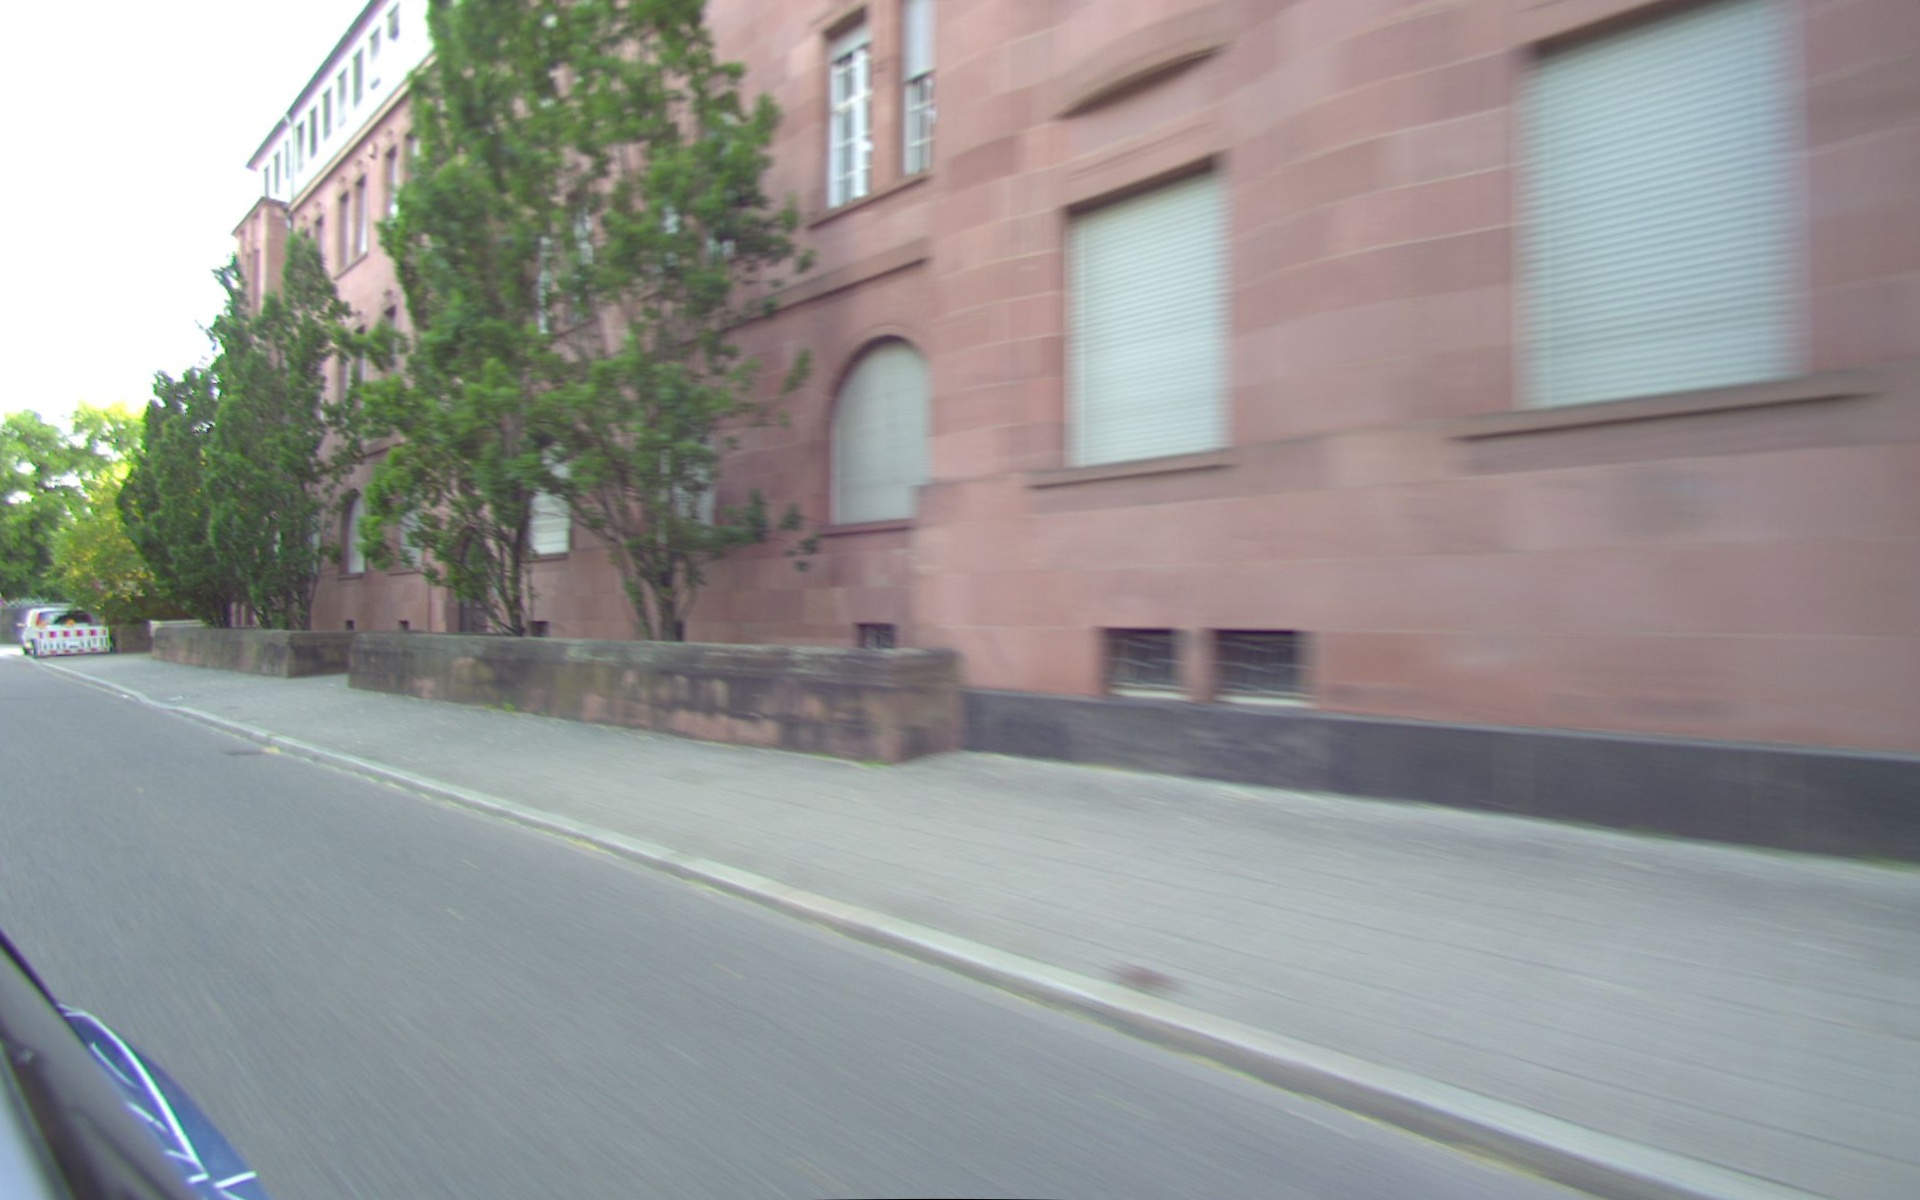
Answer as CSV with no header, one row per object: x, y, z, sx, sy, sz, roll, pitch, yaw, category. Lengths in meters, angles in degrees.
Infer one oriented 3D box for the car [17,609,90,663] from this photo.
-37.268,1.437,41.588,4.326,2.067,1.861,0,-1,44,car
